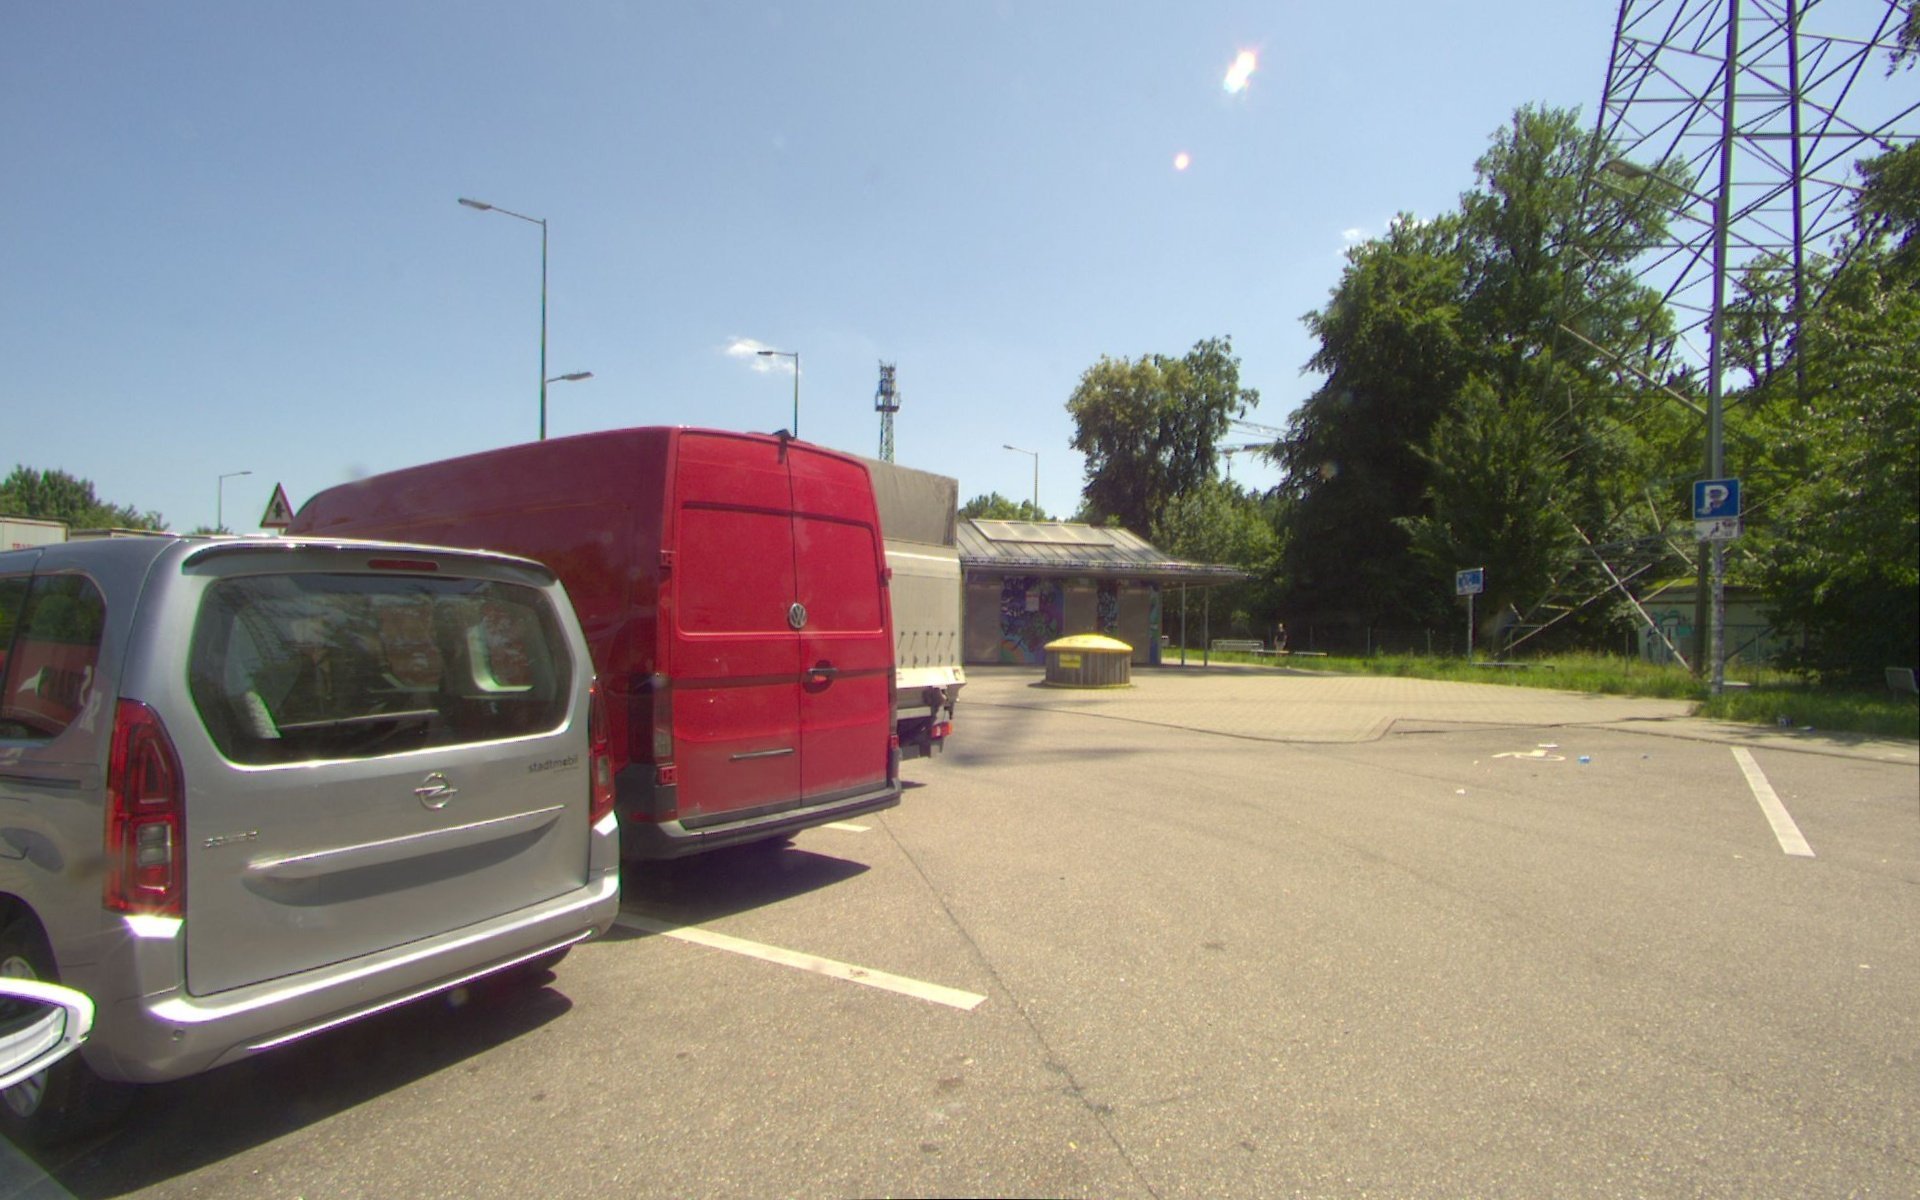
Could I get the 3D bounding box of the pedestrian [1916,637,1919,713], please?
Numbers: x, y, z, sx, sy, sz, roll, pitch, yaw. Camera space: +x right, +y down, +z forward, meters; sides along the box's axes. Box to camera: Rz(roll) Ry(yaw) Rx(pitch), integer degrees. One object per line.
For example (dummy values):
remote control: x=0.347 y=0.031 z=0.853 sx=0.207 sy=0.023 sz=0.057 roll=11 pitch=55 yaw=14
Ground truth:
pedestrian: x=17.249 y=1.313 z=17.473 sx=0.690 sy=1.352 sz=0.561 roll=-1 pitch=-1 yaw=33

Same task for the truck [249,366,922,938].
truck: x=-2.899 y=0.334 z=7.045 sx=5.238 sy=2.655 sz=1.972 roll=-2 pitch=-2 yaw=38

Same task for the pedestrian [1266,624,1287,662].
pedestrian: x=14.182 y=1.923 z=44.843 sx=0.726 sy=1.658 sz=0.789 roll=-1 pitch=-1 yaw=29

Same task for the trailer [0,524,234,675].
trailer: x=-27.961 y=-0.113 z=31.786 sx=14.184 sy=4.040 sz=2.808 roll=2 pitch=-2 yaw=33

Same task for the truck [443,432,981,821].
truck: x=-2.747 y=0.300 z=10.284 sx=5.581 sy=2.949 sz=2.449 roll=-2 pitch=-2 yaw=37

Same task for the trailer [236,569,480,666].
trailer: x=-26.107 y=0.629 z=42.901 sx=14.184 sy=3.552 sz=2.808 roll=2 pitch=-2 yaw=33

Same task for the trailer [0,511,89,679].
trailer: x=-29.025 y=-0.269 z=28.140 sx=14.184 sy=4.040 sz=2.808 roll=2 pitch=-2 yaw=33

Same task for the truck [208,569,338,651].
truck: x=-32.101 y=0.449 z=46.759 sx=5.813 sy=3.566 sz=2.799 roll=2 pitch=-2 yaw=33

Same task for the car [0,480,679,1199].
car: x=-3.392 y=0.685 z=4.246 sx=4.113 sy=1.887 sz=1.868 roll=1 pitch=-2 yaw=31
